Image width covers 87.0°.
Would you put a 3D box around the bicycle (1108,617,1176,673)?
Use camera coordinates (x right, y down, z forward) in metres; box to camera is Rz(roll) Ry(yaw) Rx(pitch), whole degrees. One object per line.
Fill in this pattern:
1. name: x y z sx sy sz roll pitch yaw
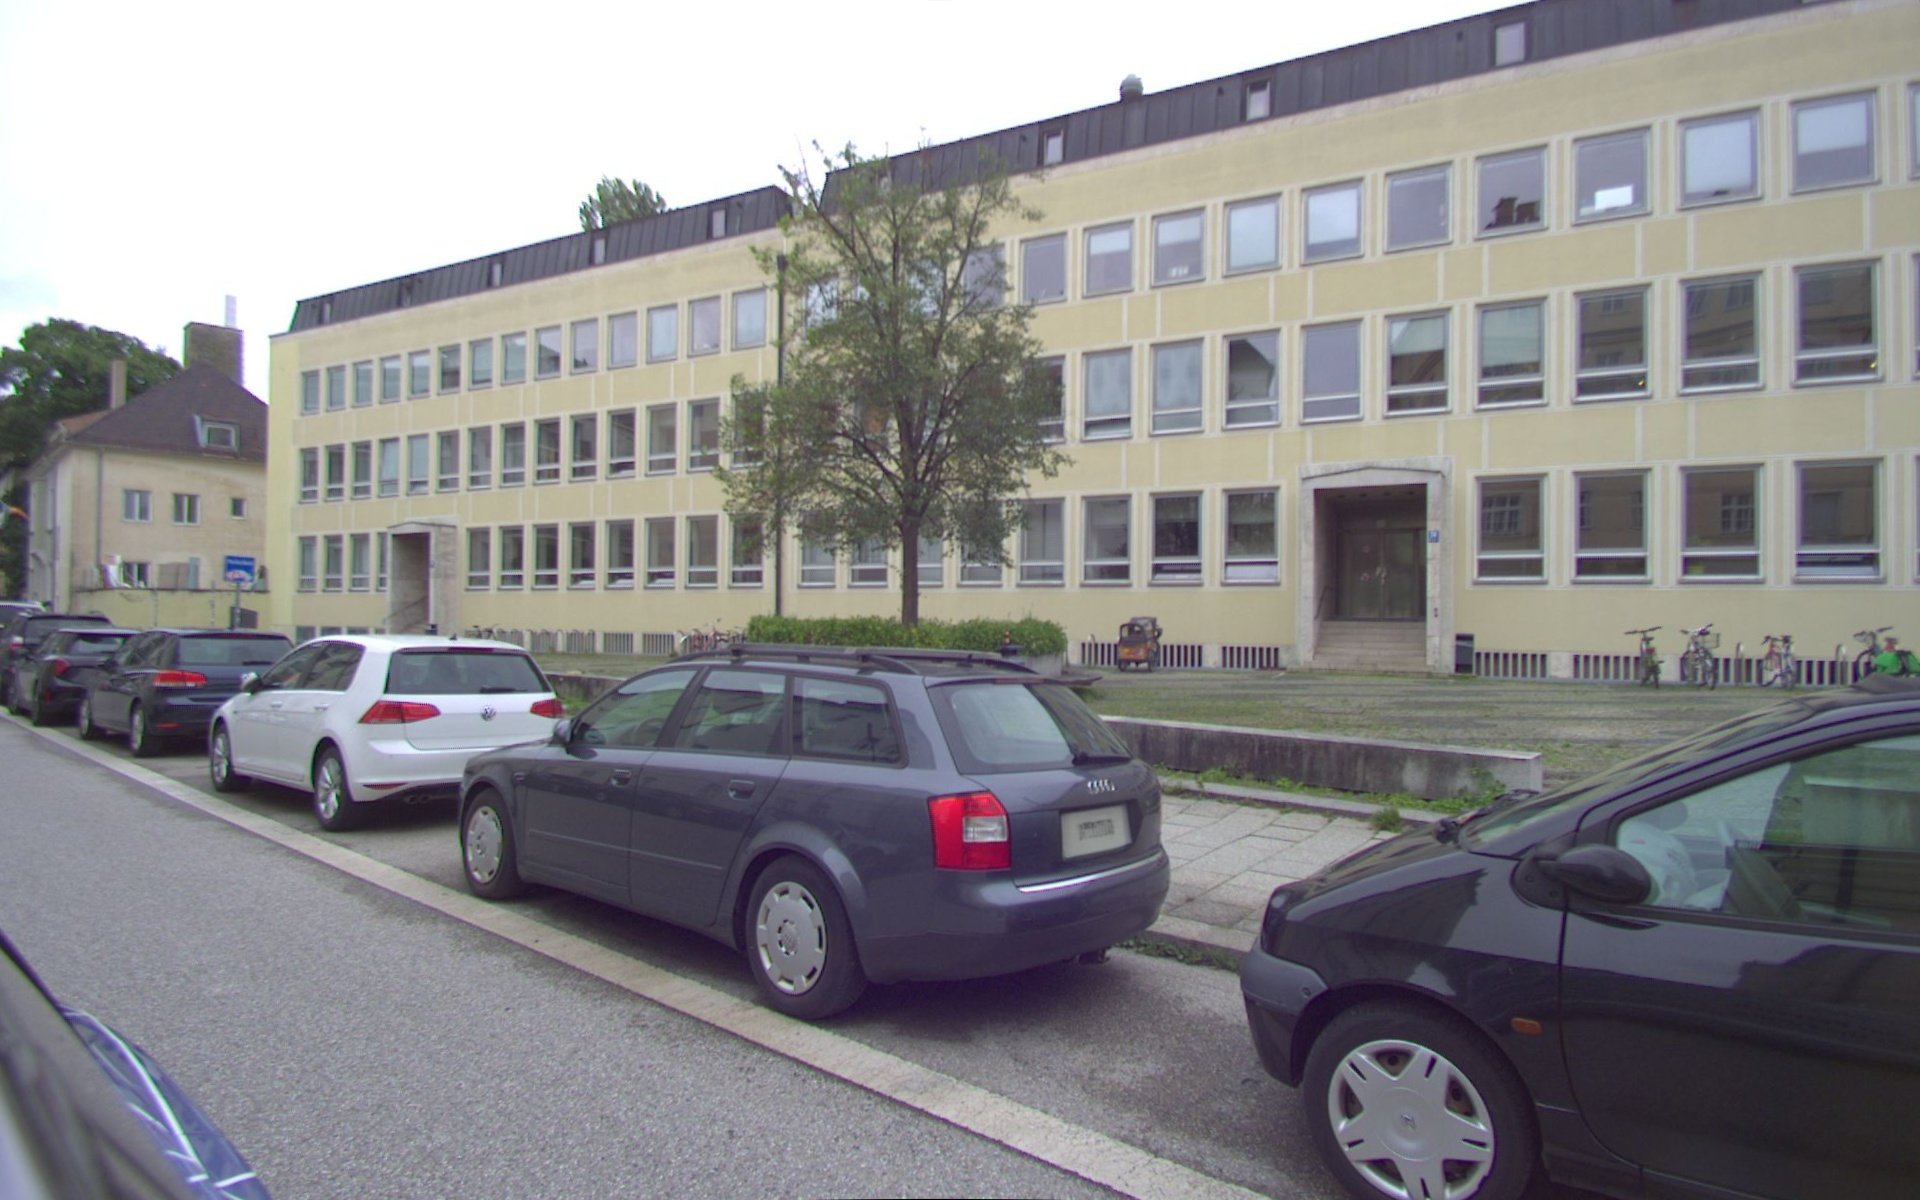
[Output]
1. bicycle: 4.372 1.038 24.195 1.050 1.258 2.422 -1 -1 24

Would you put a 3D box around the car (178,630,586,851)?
1. car: -5.130 1.027 8.775 4.068 1.465 1.640 -1 -3 39

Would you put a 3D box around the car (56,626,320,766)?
1. car: -9.675 1.089 12.586 3.969 1.465 1.640 -1 -3 39

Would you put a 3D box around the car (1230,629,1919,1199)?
1. car: 2.533 0.831 2.374 3.308 1.465 1.640 -1 -3 39

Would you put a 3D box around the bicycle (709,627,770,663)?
1. bicycle: -6.630 1.342 30.519 0.623 1.022 1.932 -1 -1 31

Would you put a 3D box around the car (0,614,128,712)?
1. car: -17.612 1.167 19.407 4.446 1.679 1.725 -1 -5 41

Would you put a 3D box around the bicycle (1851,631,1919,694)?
1. bicycle: 16.320 1.062 17.707 0.622 1.022 1.935 -1 -1 27

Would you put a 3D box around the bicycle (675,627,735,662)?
1. bicycle: -7.860 1.359 31.252 0.623 1.022 1.932 -1 -1 31

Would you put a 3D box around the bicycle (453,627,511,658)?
1. bicycle: -16.746 1.467 35.504 0.577 1.022 1.937 -1 0 24

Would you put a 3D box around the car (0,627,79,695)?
1. car: -21.529 1.339 23.049 3.917 1.398 1.725 -1 -1 42

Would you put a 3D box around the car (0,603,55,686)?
1. car: -25.096 1.105 26.003 5.017 1.994 1.909 -1 -3 39

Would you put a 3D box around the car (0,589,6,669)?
1. car: -34.663 0.963 34.817 5.653 2.666 2.272 -1 -3 43

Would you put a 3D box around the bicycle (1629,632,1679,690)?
1. bicycle: 13.110 1.119 19.145 0.623 1.022 1.933 -1 -1 30

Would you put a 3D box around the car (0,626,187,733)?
1. car: -13.629 1.163 15.812 3.867 1.465 1.663 -1 -4 41

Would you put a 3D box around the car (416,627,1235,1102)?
1. car: -0.998 0.901 5.274 4.393 1.465 1.737 -1 -4 41

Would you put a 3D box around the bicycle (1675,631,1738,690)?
1. bicycle: 13.896 1.099 18.881 0.622 1.022 1.935 -1 -1 27

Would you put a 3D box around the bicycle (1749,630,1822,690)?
1. bicycle: 15.129 1.072 18.592 0.622 1.022 1.935 -1 -1 27
